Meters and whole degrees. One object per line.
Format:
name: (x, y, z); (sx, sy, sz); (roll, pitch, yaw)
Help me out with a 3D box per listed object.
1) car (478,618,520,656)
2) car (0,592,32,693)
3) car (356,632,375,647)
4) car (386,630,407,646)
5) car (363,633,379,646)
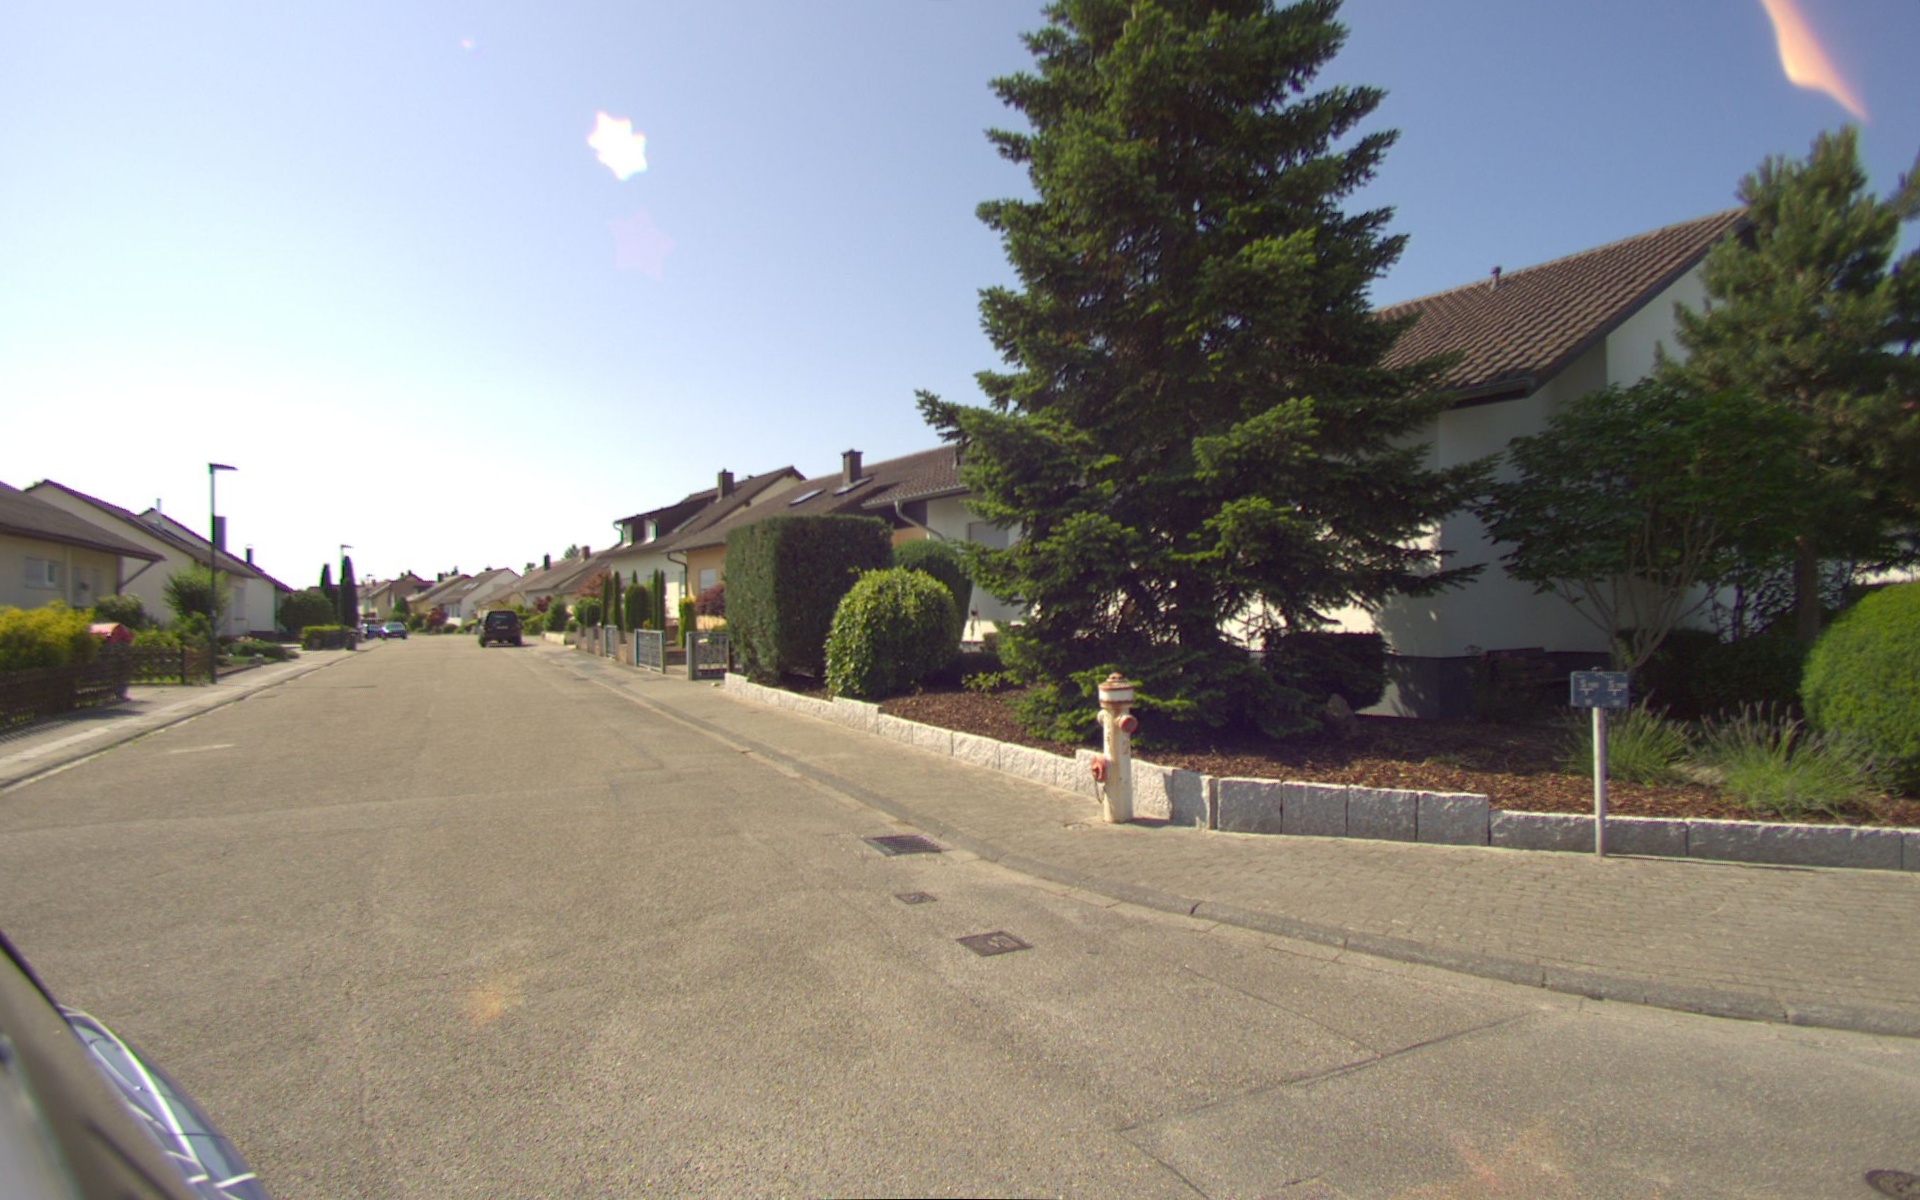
car: (-22.804, 1.787, 50.003); (1.740, 1.791, 3.664); (-1, -1, -26)
car: (-21.771, 0.857, 19.823); (4.925, 2.029, 1.874); (0, -1, -25)
car: (-57.053, 3.778, 97.072); (1.435, 1.287, 3.112); (1, -1, -33)
car: (-48.570, 3.237, 87.185); (1.435, 1.287, 3.112); (1, -1, -32)
car: (-61.807, 4.111, 106.186); (1.435, 1.287, 3.112); (1, -1, -31)
